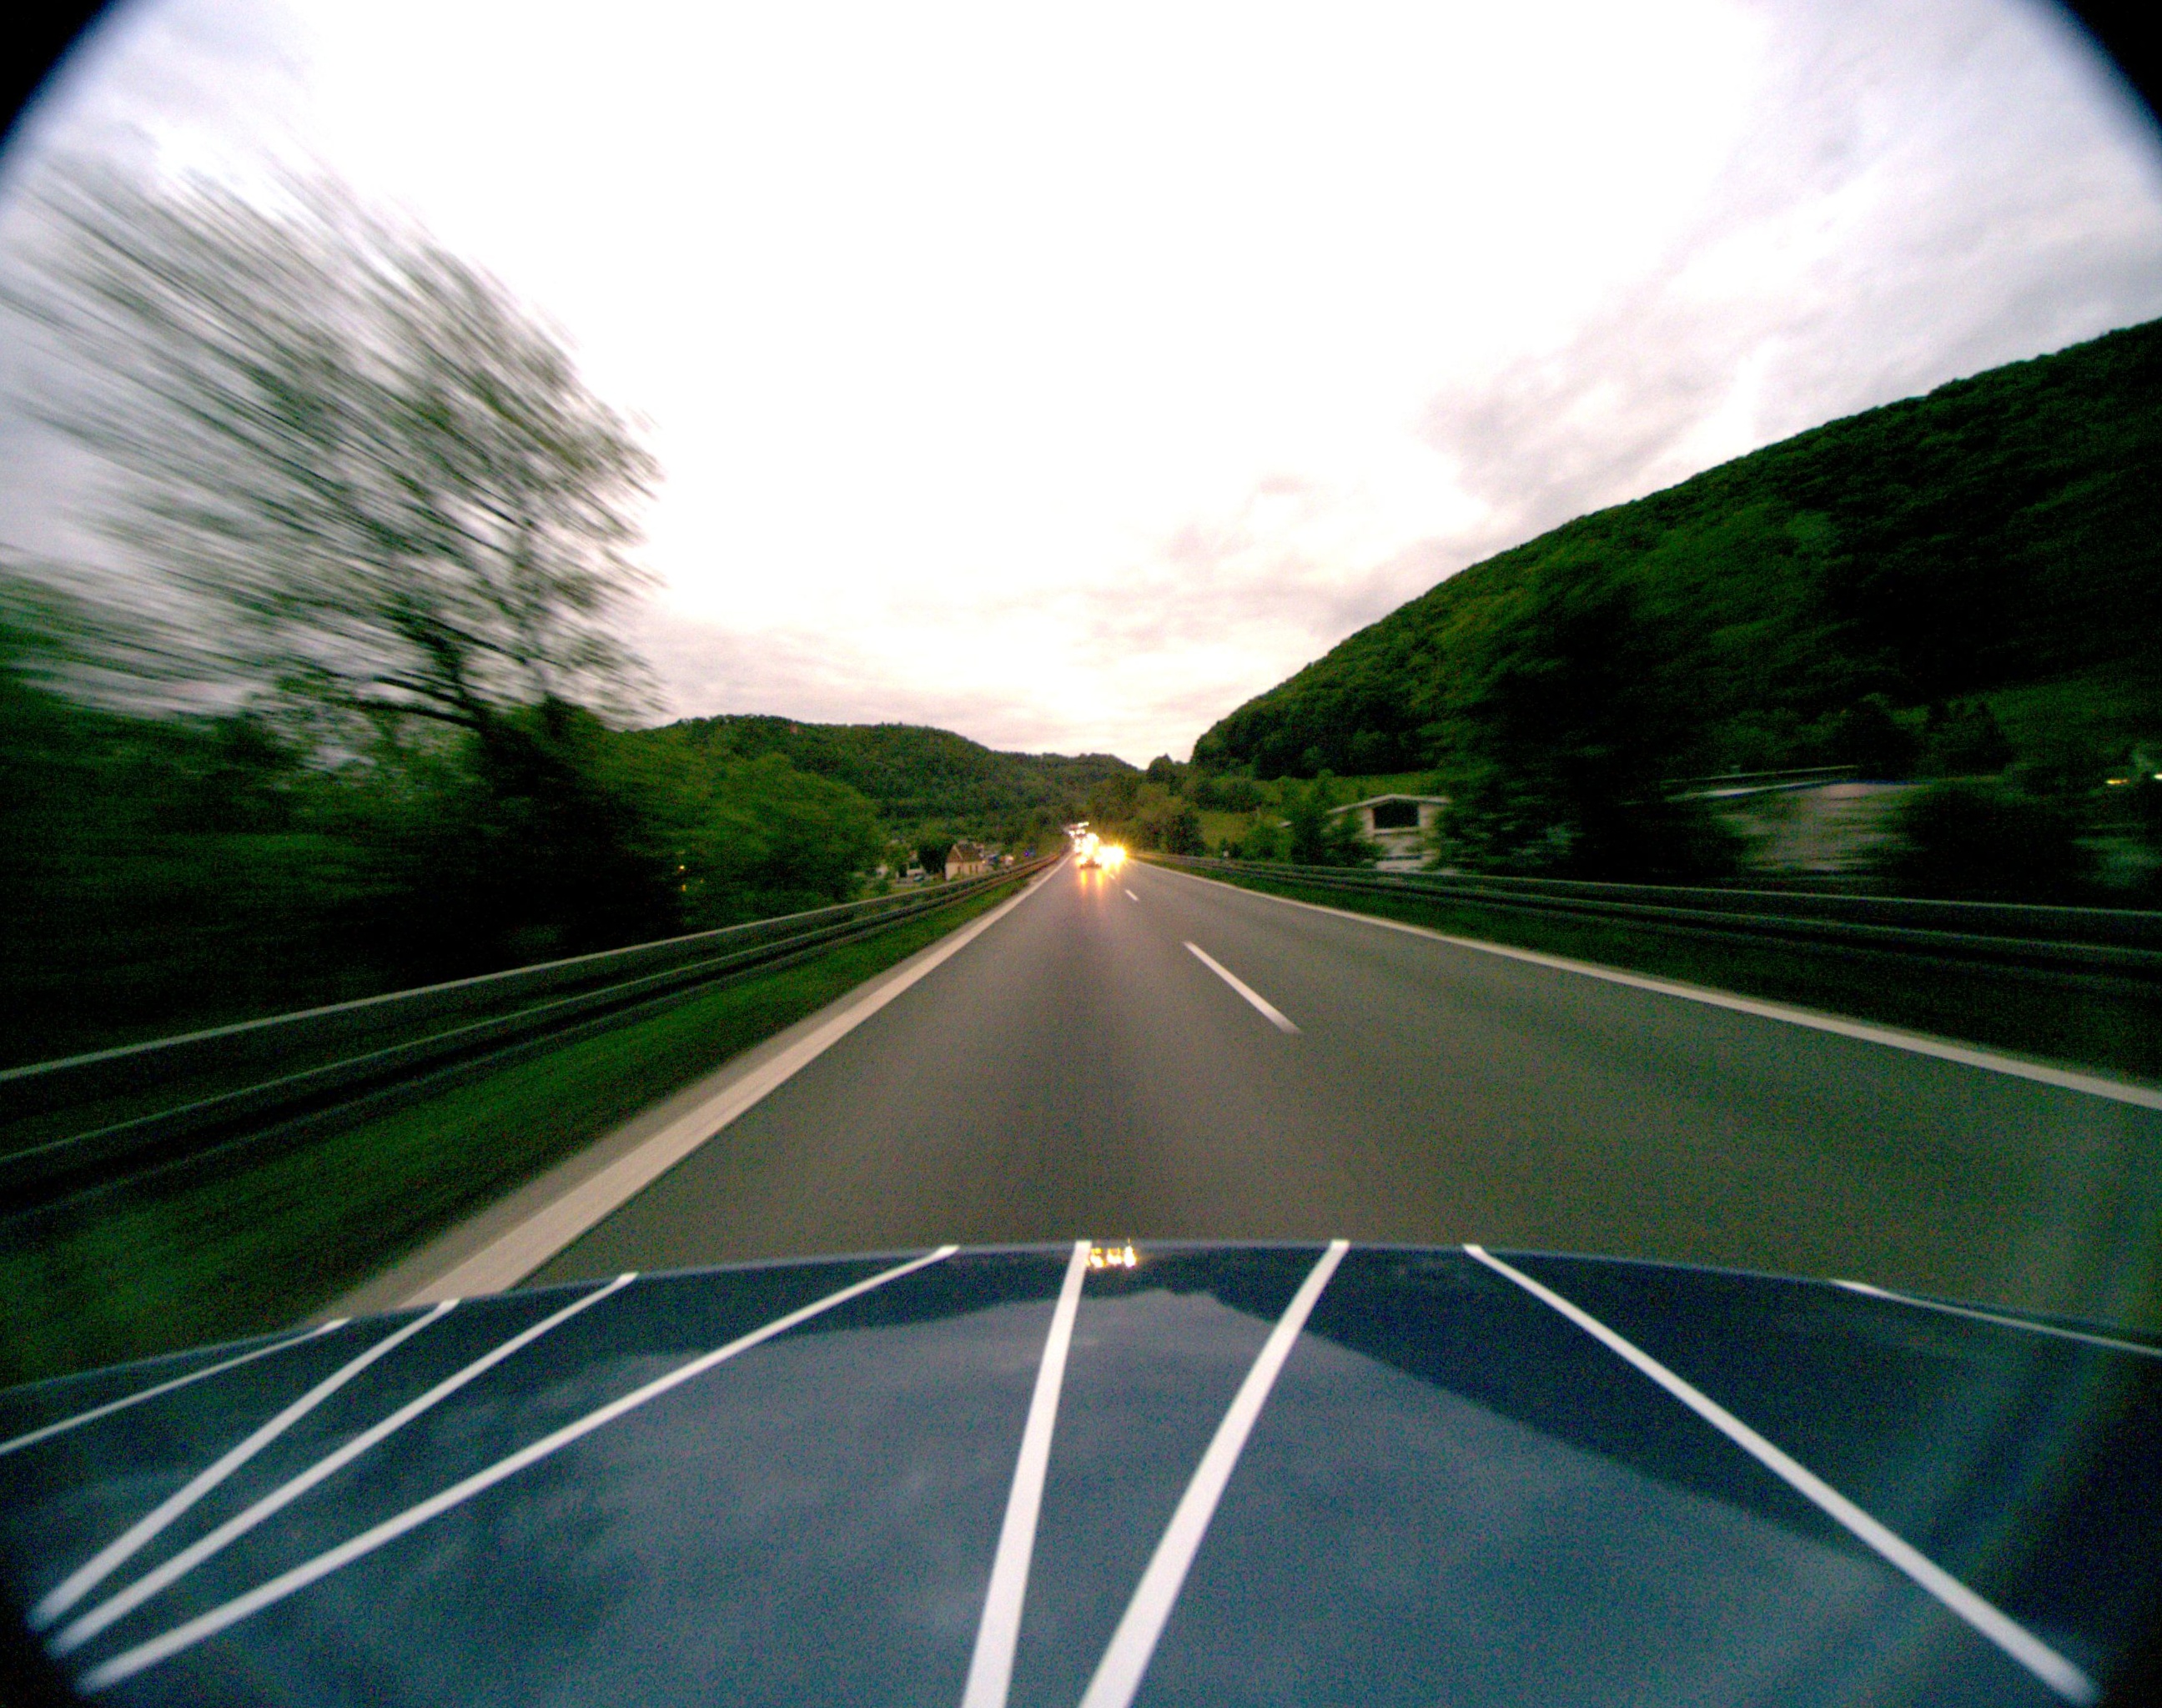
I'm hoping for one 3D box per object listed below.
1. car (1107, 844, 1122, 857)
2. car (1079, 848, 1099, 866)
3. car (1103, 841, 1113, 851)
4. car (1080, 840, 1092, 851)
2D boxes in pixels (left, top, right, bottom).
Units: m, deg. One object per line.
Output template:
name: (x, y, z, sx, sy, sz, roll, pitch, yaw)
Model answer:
car: (4.181, -0.438, 95.993, 1.690, 1.459, 3.768, -1, -2, -1)
car: (0.667, 0.268, 65.773, 1.690, 1.443, 3.670, -1, -2, 0)
car: (4.584, -1.386, 129.478, 1.690, 1.424, 3.670, -1, -2, 0)
car: (0.792, -1.349, 120.187, 1.737, 1.641, 3.670, -1, -2, 0)
